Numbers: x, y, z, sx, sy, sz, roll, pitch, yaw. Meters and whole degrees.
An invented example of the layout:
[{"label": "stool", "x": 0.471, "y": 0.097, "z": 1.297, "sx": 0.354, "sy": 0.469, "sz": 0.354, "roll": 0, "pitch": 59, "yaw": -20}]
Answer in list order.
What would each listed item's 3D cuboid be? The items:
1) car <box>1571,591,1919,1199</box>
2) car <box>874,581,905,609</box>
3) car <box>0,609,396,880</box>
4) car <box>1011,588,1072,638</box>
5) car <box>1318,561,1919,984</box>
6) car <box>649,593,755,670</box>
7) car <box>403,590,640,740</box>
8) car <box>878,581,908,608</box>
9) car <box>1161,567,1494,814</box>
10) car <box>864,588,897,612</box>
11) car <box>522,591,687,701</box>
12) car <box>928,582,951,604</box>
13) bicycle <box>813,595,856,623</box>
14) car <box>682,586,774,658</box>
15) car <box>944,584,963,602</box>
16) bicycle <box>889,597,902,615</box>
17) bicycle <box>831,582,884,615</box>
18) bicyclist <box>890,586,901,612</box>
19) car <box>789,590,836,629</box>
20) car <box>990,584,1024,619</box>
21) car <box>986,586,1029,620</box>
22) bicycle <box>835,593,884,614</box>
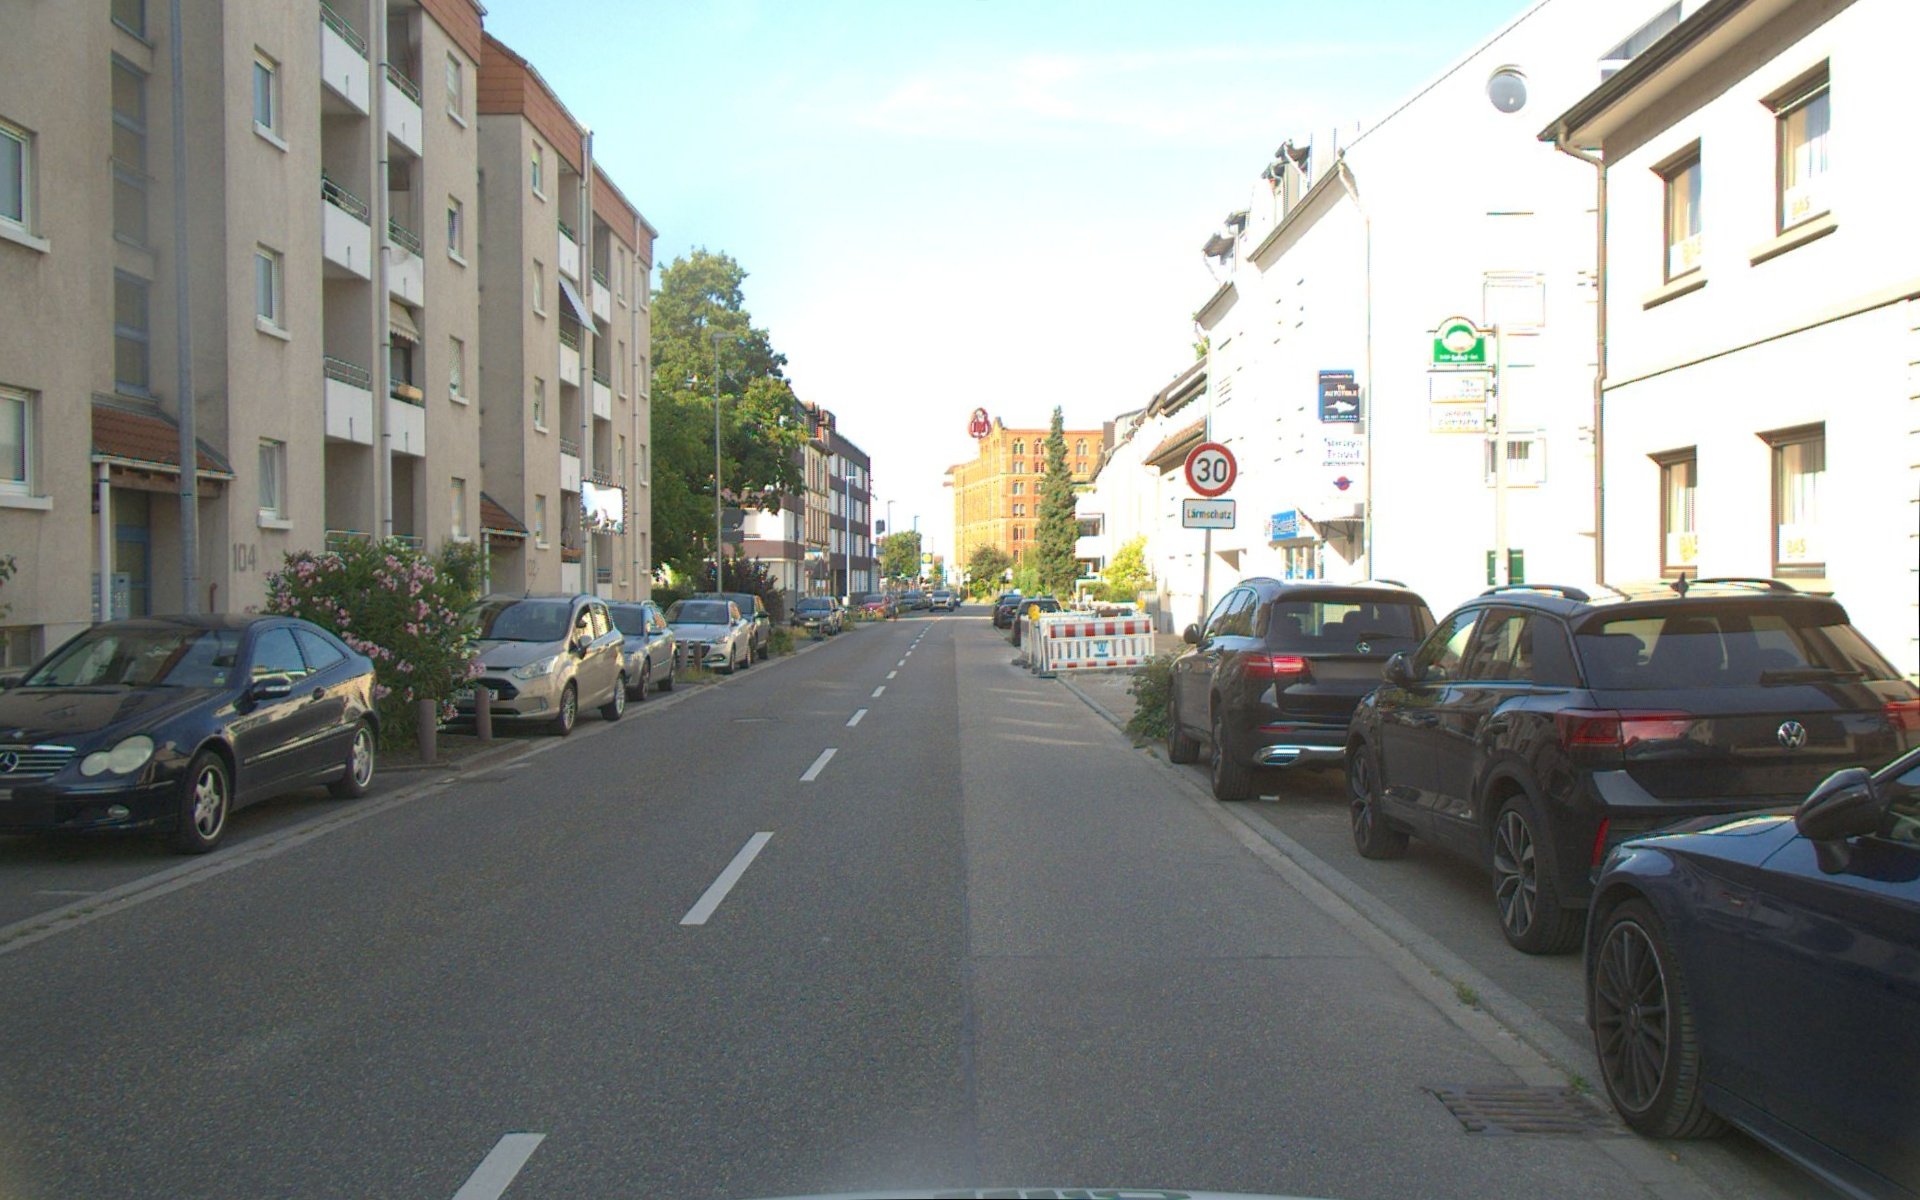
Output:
[{"label": "car", "x": 2.886, "y": 0.716, "z": 3.039, "sx": 1.792, "sy": 1.445, "sz": 4.609, "roll": -1, "pitch": 0, "yaw": 0}, {"label": "car", "x": -5.052, "y": -0.379, "z": 118.729, "sx": 1.952, "sy": 1.945, "sz": 3.689, "roll": -1, "pitch": 0, "yaw": 1}, {"label": "car", "x": -5.304, "y": 0.808, "z": 11.160, "sx": 1.652, "sy": 1.430, "sz": 4.083, "roll": 0, "pitch": 1, "yaw": -1}, {"label": "car", "x": 2.602, "y": 0.386, "z": 53.458, "sx": 1.792, "sy": 1.508, "sz": 3.943, "roll": -1, "pitch": 1, "yaw": 1}, {"label": "car", "x": 3.257, "y": 0.636, "z": 8.494, "sx": 1.793, "sy": 1.587, "sz": 4.316, "roll": -1, "pitch": 0, "yaw": -1}, {"label": "car", "x": -5.299, "y": 0.607, "z": 34.427, "sx": 1.652, "sy": 1.480, "sz": 4.140, "roll": 0, "pitch": 1, "yaw": -1}, {"label": "car", "x": -5.097, "y": 0.685, "z": 19.746, "sx": 1.691, "sy": 1.582, "sz": 3.966, "roll": 0, "pitch": 1, "yaw": 1}, {"label": "car", "x": -4.972, "y": -0.434, "z": 122.807, "sx": 1.952, "sy": 1.941, "sz": 4.000, "roll": -1, "pitch": 0, "yaw": 1}, {"label": "car", "x": 2.814, "y": 0.606, "z": 13.677, "sx": 1.792, "sy": 1.658, "sz": 4.464, "roll": -2, "pitch": 0, "yaw": 1}, {"label": "car", "x": -4.928, "y": -0.017, "z": 102.812, "sx": 1.802, "sy": 1.489, "sz": 3.585, "roll": 0, "pitch": 0, "yaw": 0}, {"label": "car", "x": -5.473, "y": 0.653, "z": 25.962, "sx": 1.771, "sy": 1.547, "sz": 4.369, "roll": 0, "pitch": 1, "yaw": -2}, {"label": "car", "x": -1.602, "y": -0.556, "z": 129.912, "sx": 1.727, "sy": 1.644, "sz": 4.000, "roll": -1, "pitch": 0, "yaw": 0}, {"label": "bicycle", "x": -5.819, "y": 0.406, "z": 76.346, "sx": 1.962, "sy": 1.238, "sz": 0.707, "roll": 0, "pitch": 0, "yaw": -6}, {"label": "car", "x": -5.520, "y": 0.488, "z": 39.835, "sx": 1.651, "sy": 1.631, "sz": 4.369, "roll": 0, "pitch": 0, "yaw": -1}, {"label": "car", "x": -0.609, "y": -0.695, "z": 157.337, "sx": 1.727, "sy": 1.644, "sz": 4.000, "roll": -1, "pitch": 0, "yaw": 0}, {"label": "bicycle", "x": -3.645, "y": 0.343, "z": 93.689, "sx": 0.596, "sy": 0.959, "sz": 1.811, "roll": -1, "pitch": 0, "yaw": 1}, {"label": "bicycle", "x": -5.741, "y": -0.064, "z": 93.120, "sx": 2.858, "sy": 1.808, "sz": 1.202, "roll": -1, "pitch": 0, "yaw": 1}, {"label": "bicyclist", "x": -3.650, "y": -0.061, "z": 93.752, "sx": 0.578, "sy": 1.467, "sz": 0.751, "roll": -1, "pitch": 0, "yaw": 1}, {"label": "car", "x": -5.707, "y": 0.350, "z": 64.381, "sx": 1.541, "sy": 1.445, "sz": 3.803, "roll": 0, "pitch": 1, "yaw": -1}, {"label": "car", "x": 2.357, "y": 0.068, "z": 82.942, "sx": 1.569, "sy": 1.674, "sz": 3.685, "roll": 1, "pitch": 0, "yaw": 0}, {"label": "car", "x": 2.191, "y": 0.118, "z": 77.524, "sx": 1.821, "sy": 1.497, "sz": 4.000, "roll": 1, "pitch": 0, "yaw": -1}, {"label": "bicycle", "x": -5.736, "y": 0.219, "z": 94.893, "sx": 2.716, "sy": 1.164, "sz": 1.143, "roll": -1, "pitch": 0, "yaw": 1}]
